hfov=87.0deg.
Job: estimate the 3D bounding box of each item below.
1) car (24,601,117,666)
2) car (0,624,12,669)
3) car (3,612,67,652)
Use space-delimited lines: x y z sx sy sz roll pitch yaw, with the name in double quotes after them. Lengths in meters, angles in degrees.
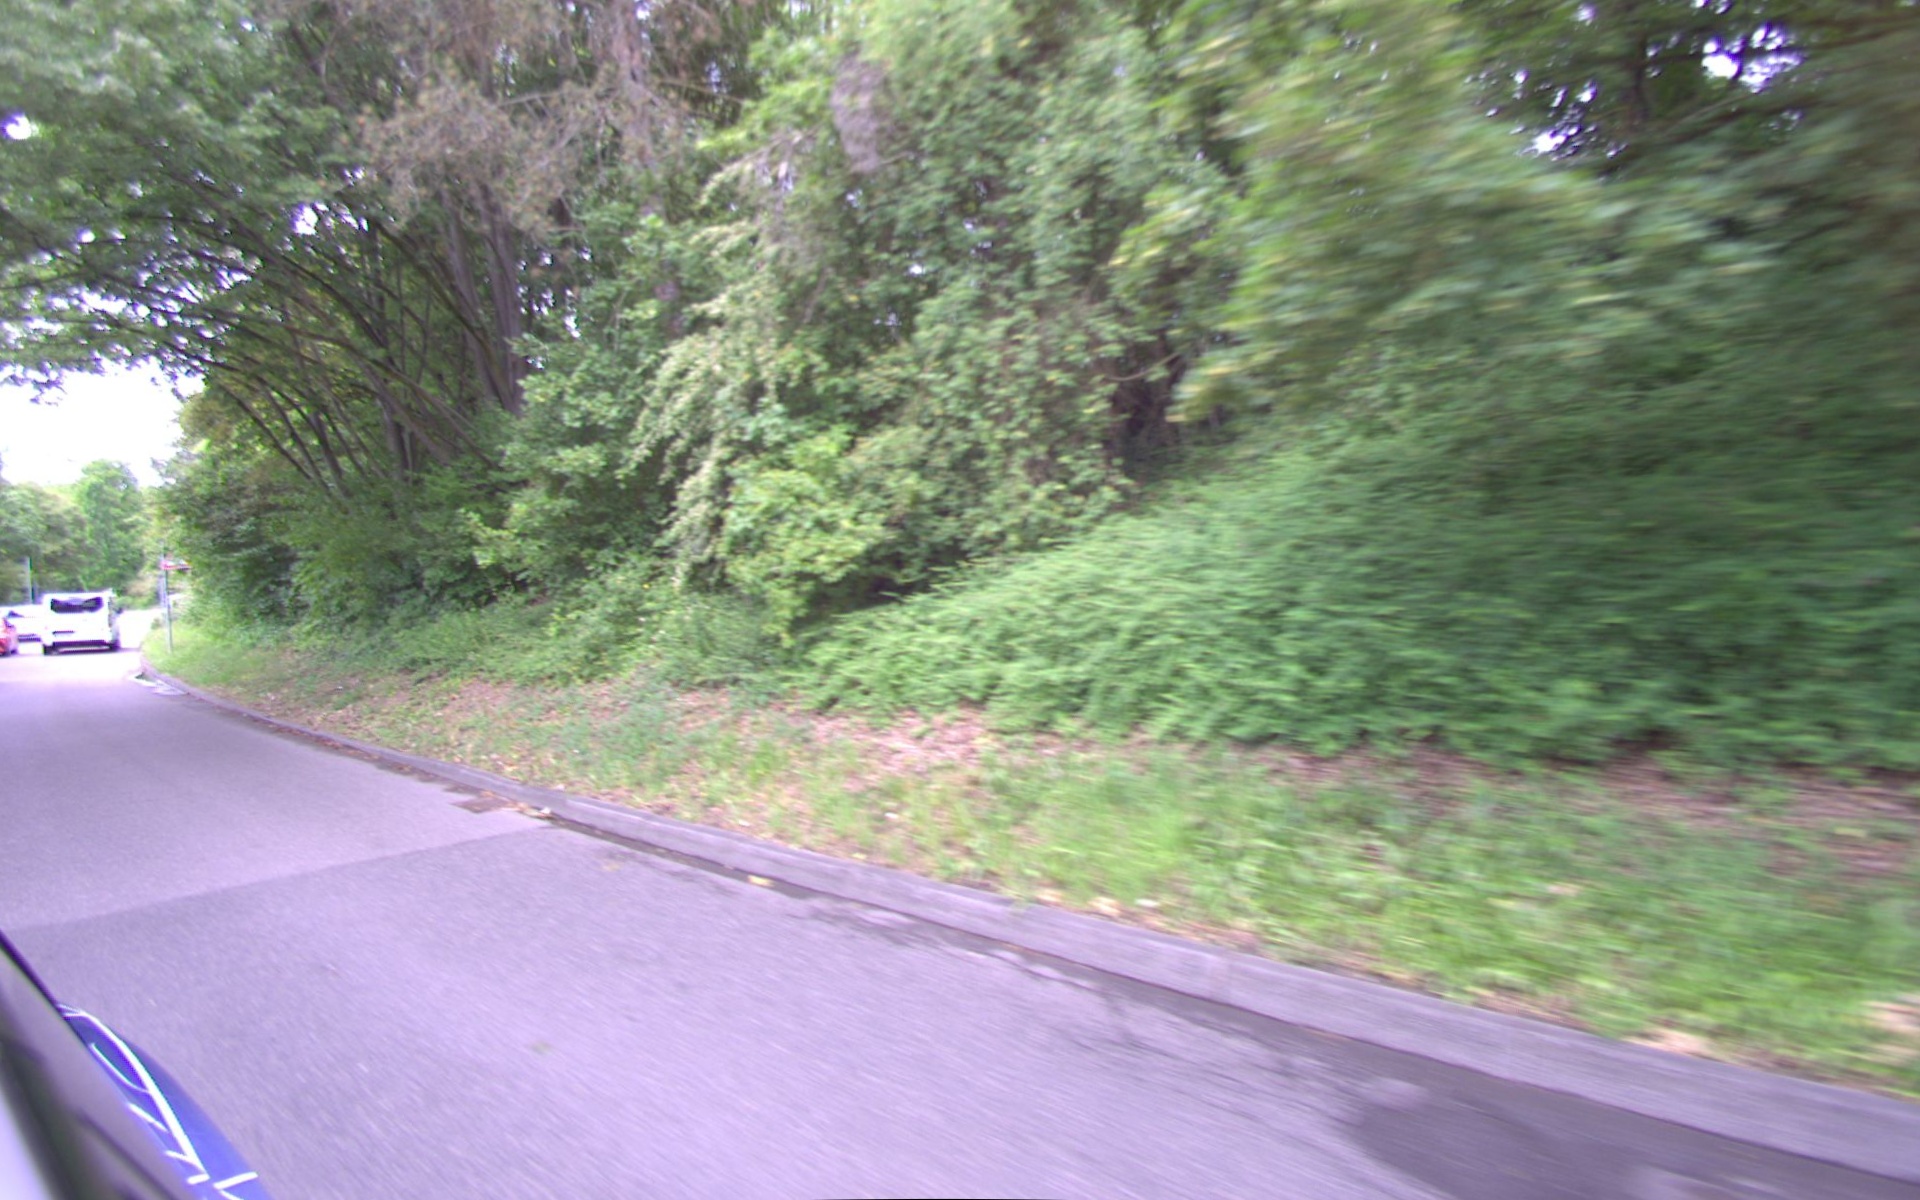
-30.571 1.094 34.903 2.117 2.029 4.008 -1 1 -38 "car"
-32.704 1.572 33.331 1.839 1.460 4.183 -2 0 -39 "car"
-41.475 1.423 45.448 1.893 1.694 4.007 1 -2 -39 "car"
